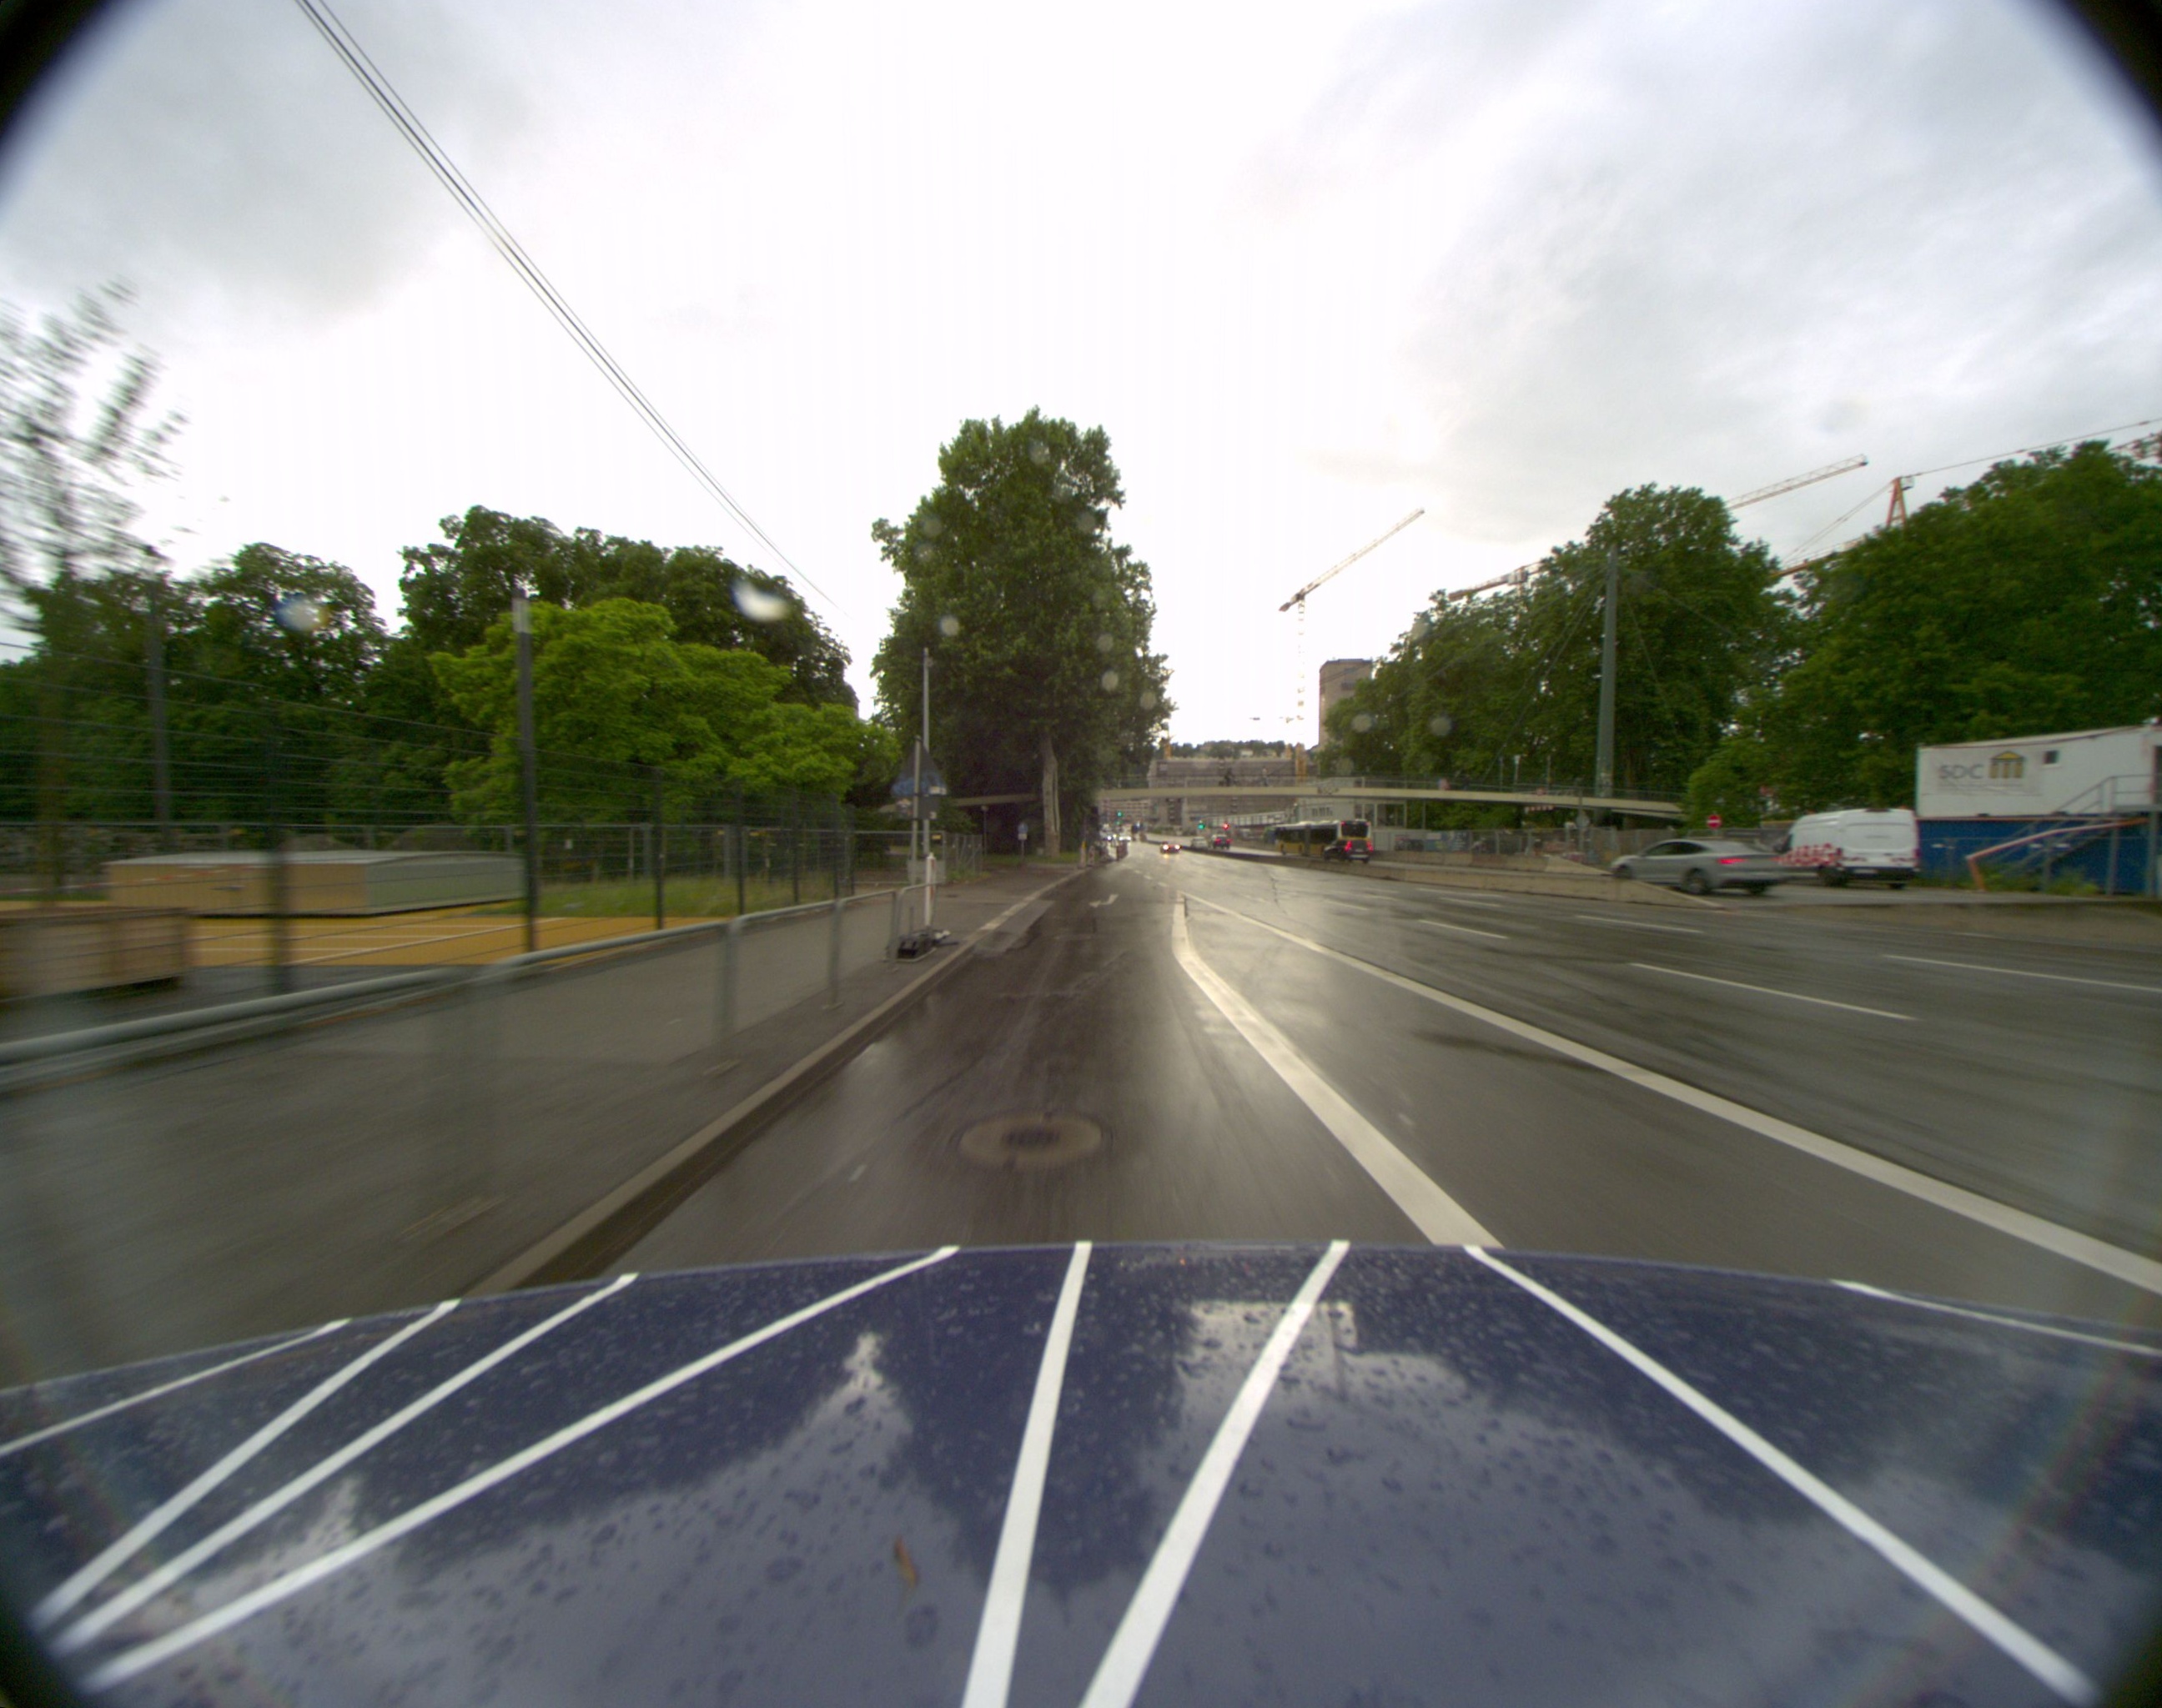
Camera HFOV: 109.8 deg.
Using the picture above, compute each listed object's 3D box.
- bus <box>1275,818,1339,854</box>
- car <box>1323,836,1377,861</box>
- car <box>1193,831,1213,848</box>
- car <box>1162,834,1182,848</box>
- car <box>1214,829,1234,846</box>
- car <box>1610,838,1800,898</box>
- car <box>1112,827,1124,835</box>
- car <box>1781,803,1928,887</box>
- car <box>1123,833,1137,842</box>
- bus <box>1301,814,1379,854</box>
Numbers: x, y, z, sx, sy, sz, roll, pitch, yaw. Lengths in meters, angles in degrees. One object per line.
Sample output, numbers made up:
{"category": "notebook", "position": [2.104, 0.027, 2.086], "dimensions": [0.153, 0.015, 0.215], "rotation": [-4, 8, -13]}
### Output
{"category": "bus", "position": [20.988, -1.640, 71.195], "dimensions": [3.238, 3.038, 8.952], "rotation": [-2, 1, 0]}
{"category": "car", "position": [17.641, -0.349, 50.071], "dimensions": [1.840, 1.567, 4.438], "rotation": [0, 1, -2]}
{"category": "car", "position": [14.751, -1.752, 91.824], "dimensions": [1.998, 2.002, 4.000], "rotation": [0, 1, 3]}
{"category": "car", "position": [10.244, -1.440, 85.407], "dimensions": [1.690, 1.543, 3.999], "rotation": [-1, 0, -1]}
{"category": "car", "position": [17.567, -2.002, 93.514], "dimensions": [1.998, 2.002, 4.000], "rotation": [0, 1, 3]}
{"category": "car", "position": [18.105, 0.350, 22.384], "dimensions": [1.840, 1.567, 4.438], "rotation": [0, 1, -2]}
{"category": "car", "position": [7.367, -4.484, 150.133], "dimensions": [1.987, 1.567, 4.438], "rotation": [0, 1, -2]}
{"category": "car", "position": [27.344, -0.306, 27.099], "dimensions": [2.075, 2.722, 4.600], "rotation": [0, 1, 23]}
{"category": "car", "position": [8.510, -2.813, 131.753], "dimensions": [1.987, 1.567, 4.438], "rotation": [0, 1, -2]}
{"category": "bus", "position": [21.019, -1.554, 62.270], "dimensions": [3.270, 2.923, 8.952], "rotation": [-2, 1, 0]}
